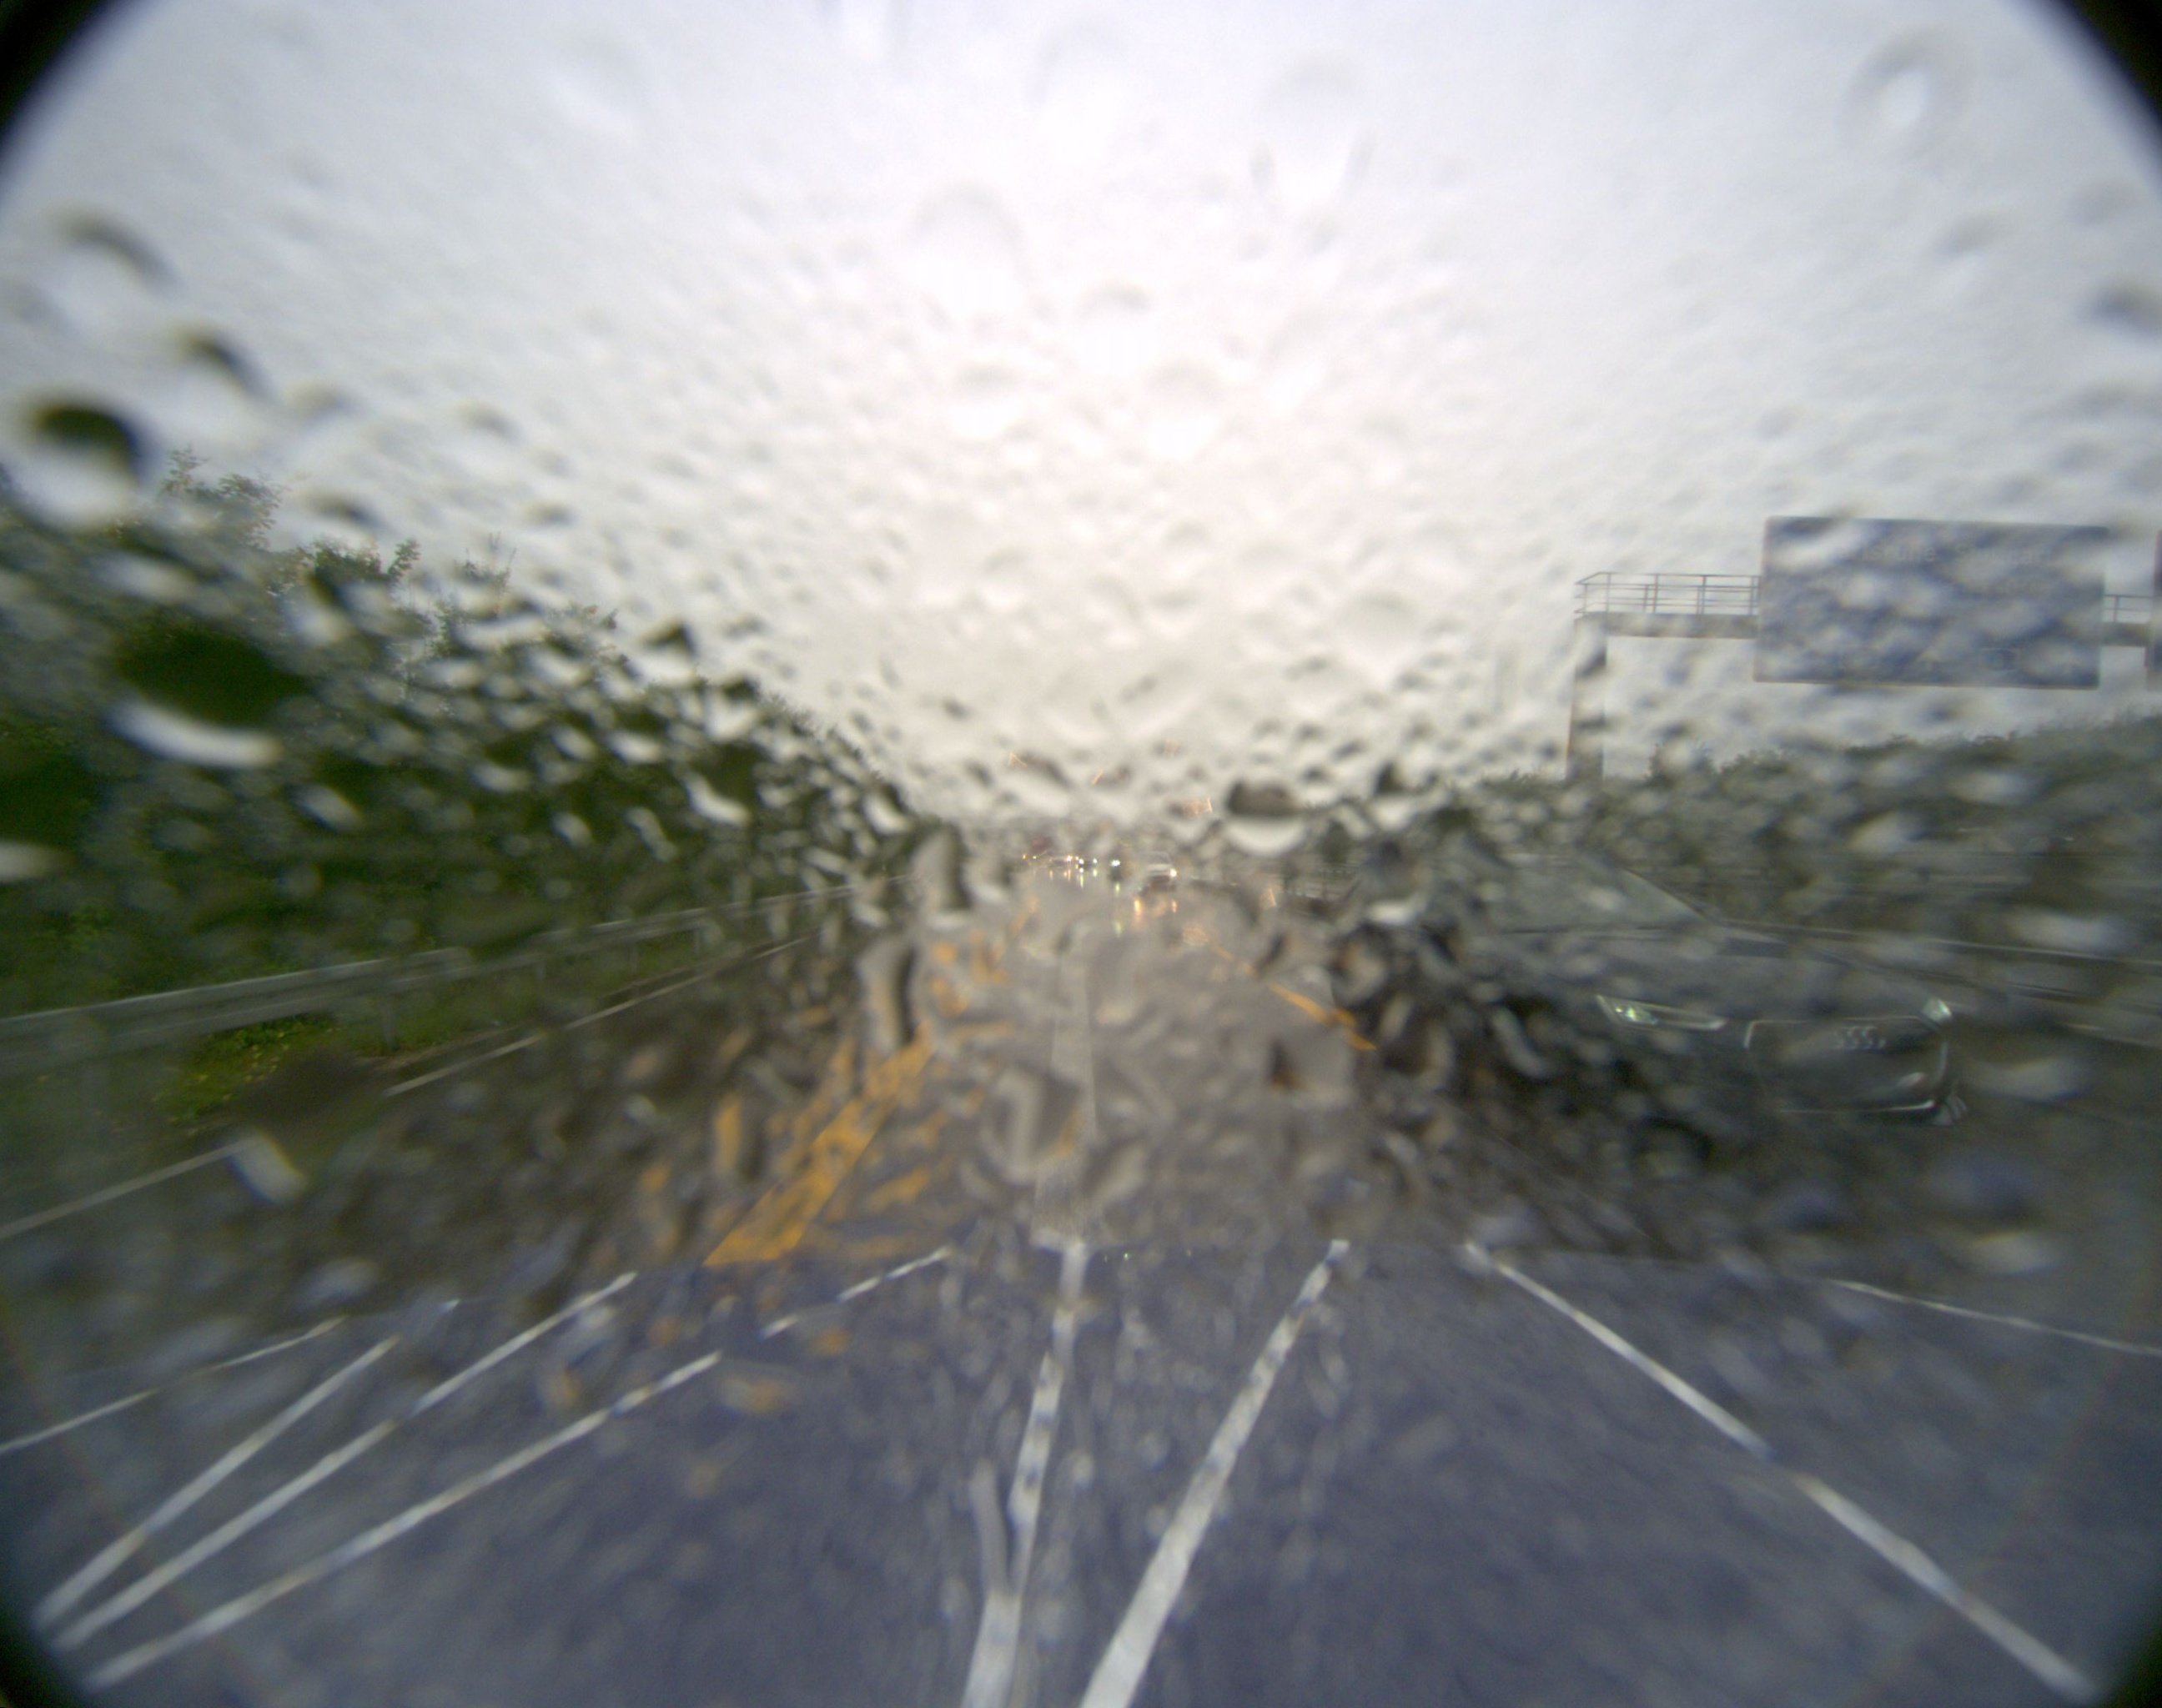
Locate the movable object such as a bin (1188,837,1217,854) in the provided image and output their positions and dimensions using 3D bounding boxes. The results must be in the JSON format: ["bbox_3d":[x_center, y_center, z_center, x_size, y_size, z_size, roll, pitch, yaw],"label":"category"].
[{"bbox_3d":[21.119,-1.431,132.368,3.775,2.782,6.327,-2,1,-2],"label":"movable object such as a bin"}]

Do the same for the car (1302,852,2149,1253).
[{"bbox_3d":[3.256,0.788,5.342,1.999,1.489,4.630,-2,1,0],"label":"car"}]

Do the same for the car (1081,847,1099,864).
[{"bbox_3d":[0.972,0.150,85.101,1.695,1.740,3.998,-2,1,-3],"label":"car"}]

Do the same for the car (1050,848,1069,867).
[{"bbox_3d":[-2.454,0.320,85.228,1.882,2.002,3.998,-2,1,-3],"label":"car"}]

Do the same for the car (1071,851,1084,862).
[{"bbox_3d":[-0.561,0.320,117.076,1.845,1.586,3.998,-2,1,-3],"label":"car"}]

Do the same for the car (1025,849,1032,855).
[{"bbox_3d":[-14.240,-0.607,207.247,1.752,1.579,3.998,-2,1,-3],"label":"car"}]

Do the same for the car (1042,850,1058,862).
[{"bbox_3d":[-4.486,0.220,108.979,1.882,1.656,3.997,-2,1,-6],"label":"car"}]

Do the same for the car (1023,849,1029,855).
[{"bbox_3d":[-17.221,-0.662,236.370,1.752,1.579,3.998,-2,1,-3],"label":"car"}]

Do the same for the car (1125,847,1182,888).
[{"bbox_3d":[2.965,0.552,31.966,1.978,1.586,4.309,-2,-1,0],"label":"car"}]

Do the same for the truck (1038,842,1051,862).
[{"bbox_3d":[-7.770,-0.456,159.750,2.484,4.061,8.700,-2,1,-3],"label":"truck"}]

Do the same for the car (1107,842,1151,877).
[{"bbox_3d":[2.938,0.319,48.111,2.212,2.002,5.562,-2,1,-2],"label":"car"}]

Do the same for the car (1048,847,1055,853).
[{"bbox_3d":[-7.275,-0.967,187.604,1.752,1.579,3.998,-2,1,-3],"label":"car"}]

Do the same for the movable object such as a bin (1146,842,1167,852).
[{"bbox_3d":[17.192,-1.592,173.580,3.449,2.281,5.096,-3,1,-9],"label":"movable object such as a bin"}]

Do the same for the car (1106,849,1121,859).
[{"bbox_3d":[5.519,0.018,129.344,1.852,1.494,4.127,-2,1,-5],"label":"car"}]
